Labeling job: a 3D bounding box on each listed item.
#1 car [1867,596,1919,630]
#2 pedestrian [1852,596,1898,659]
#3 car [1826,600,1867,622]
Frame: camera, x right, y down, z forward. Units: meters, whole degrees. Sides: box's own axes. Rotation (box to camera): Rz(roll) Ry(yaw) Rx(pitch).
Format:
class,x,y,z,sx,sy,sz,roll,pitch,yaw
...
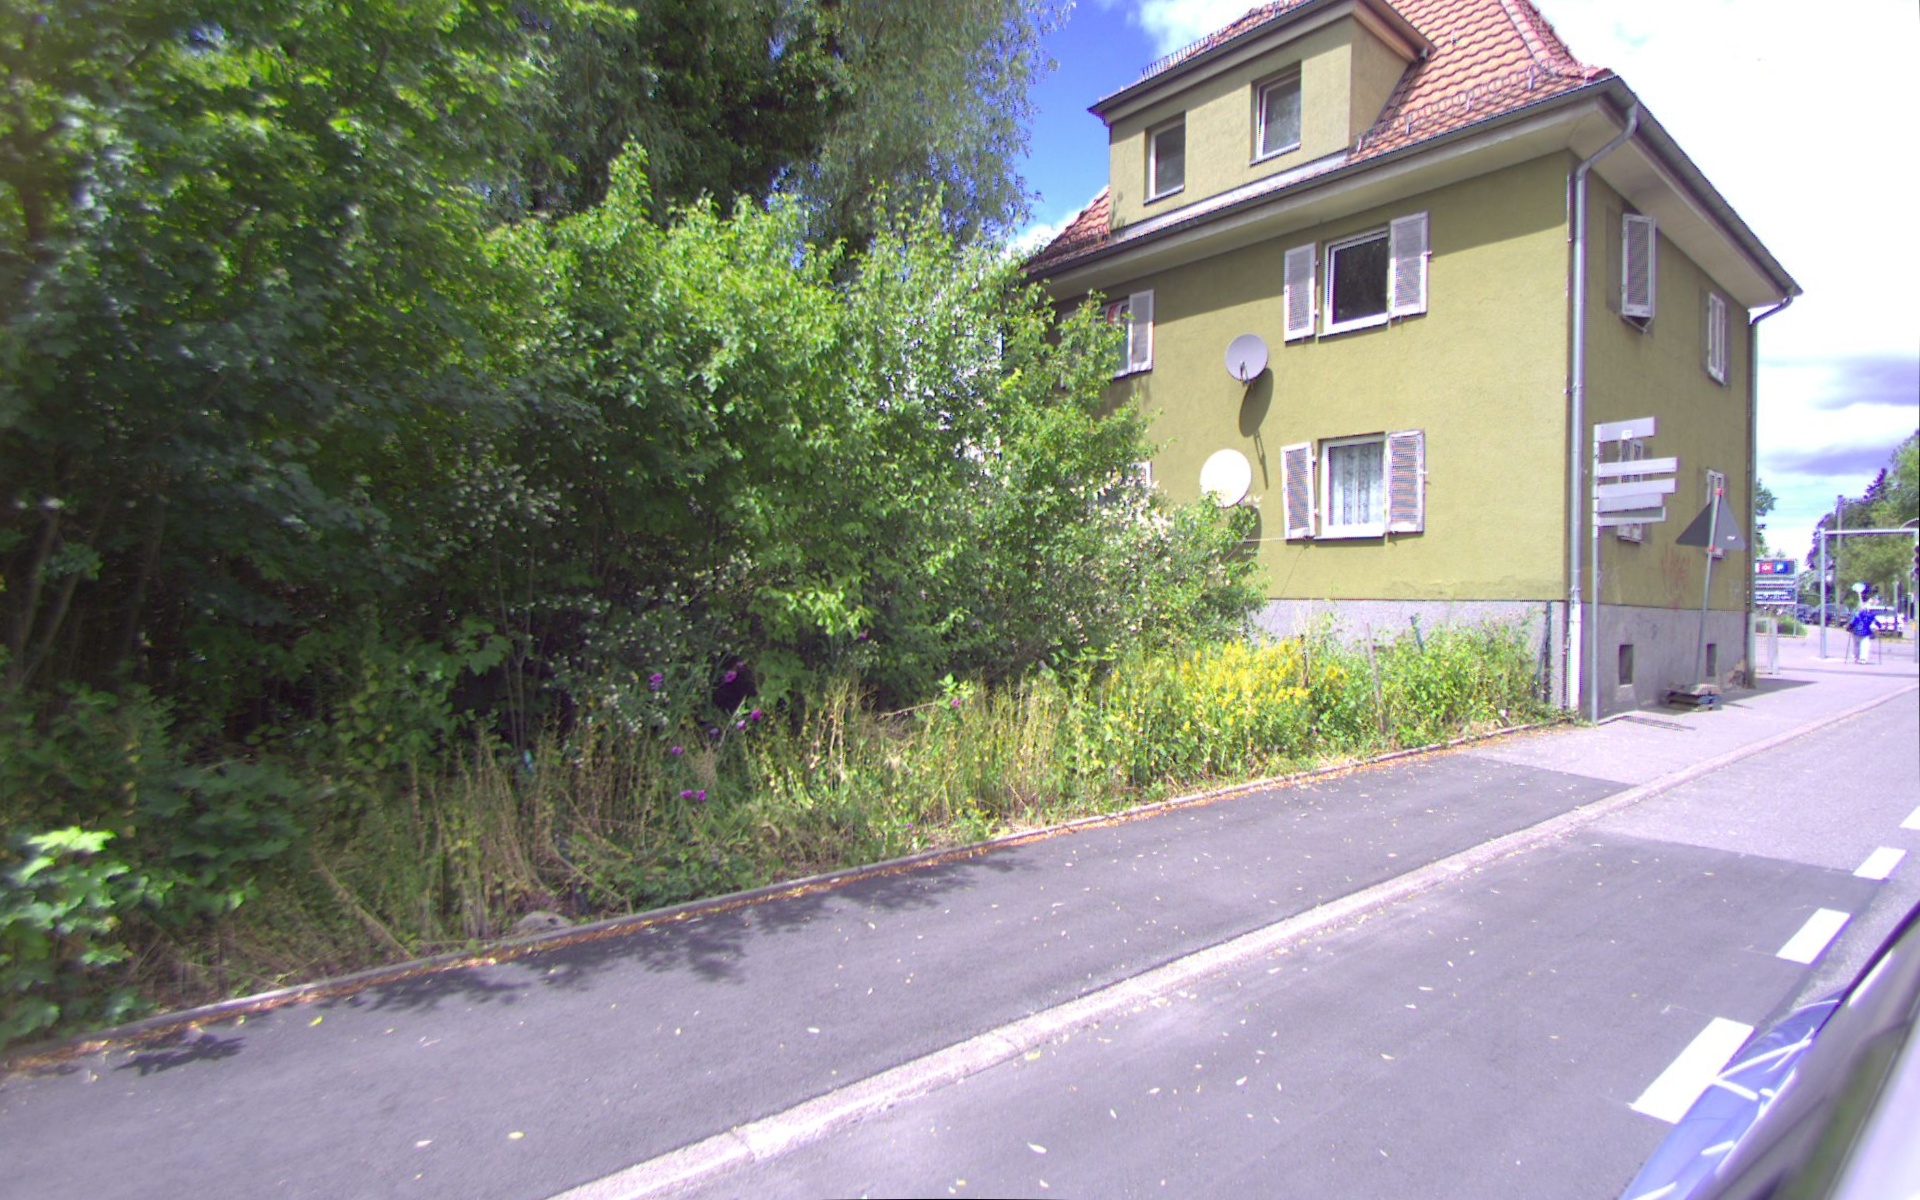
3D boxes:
class,x,y,z,sx,sy,sz,roll,pitch,yaw
car,47.150,0.636,51.111,1.788,1.549,3.864,4,2,40
pedestrian,23.844,0.690,26.364,0.824,1.592,0.972,2,1,45
car,64.366,0.768,73.534,1.694,1.551,3.951,-1,-1,34
